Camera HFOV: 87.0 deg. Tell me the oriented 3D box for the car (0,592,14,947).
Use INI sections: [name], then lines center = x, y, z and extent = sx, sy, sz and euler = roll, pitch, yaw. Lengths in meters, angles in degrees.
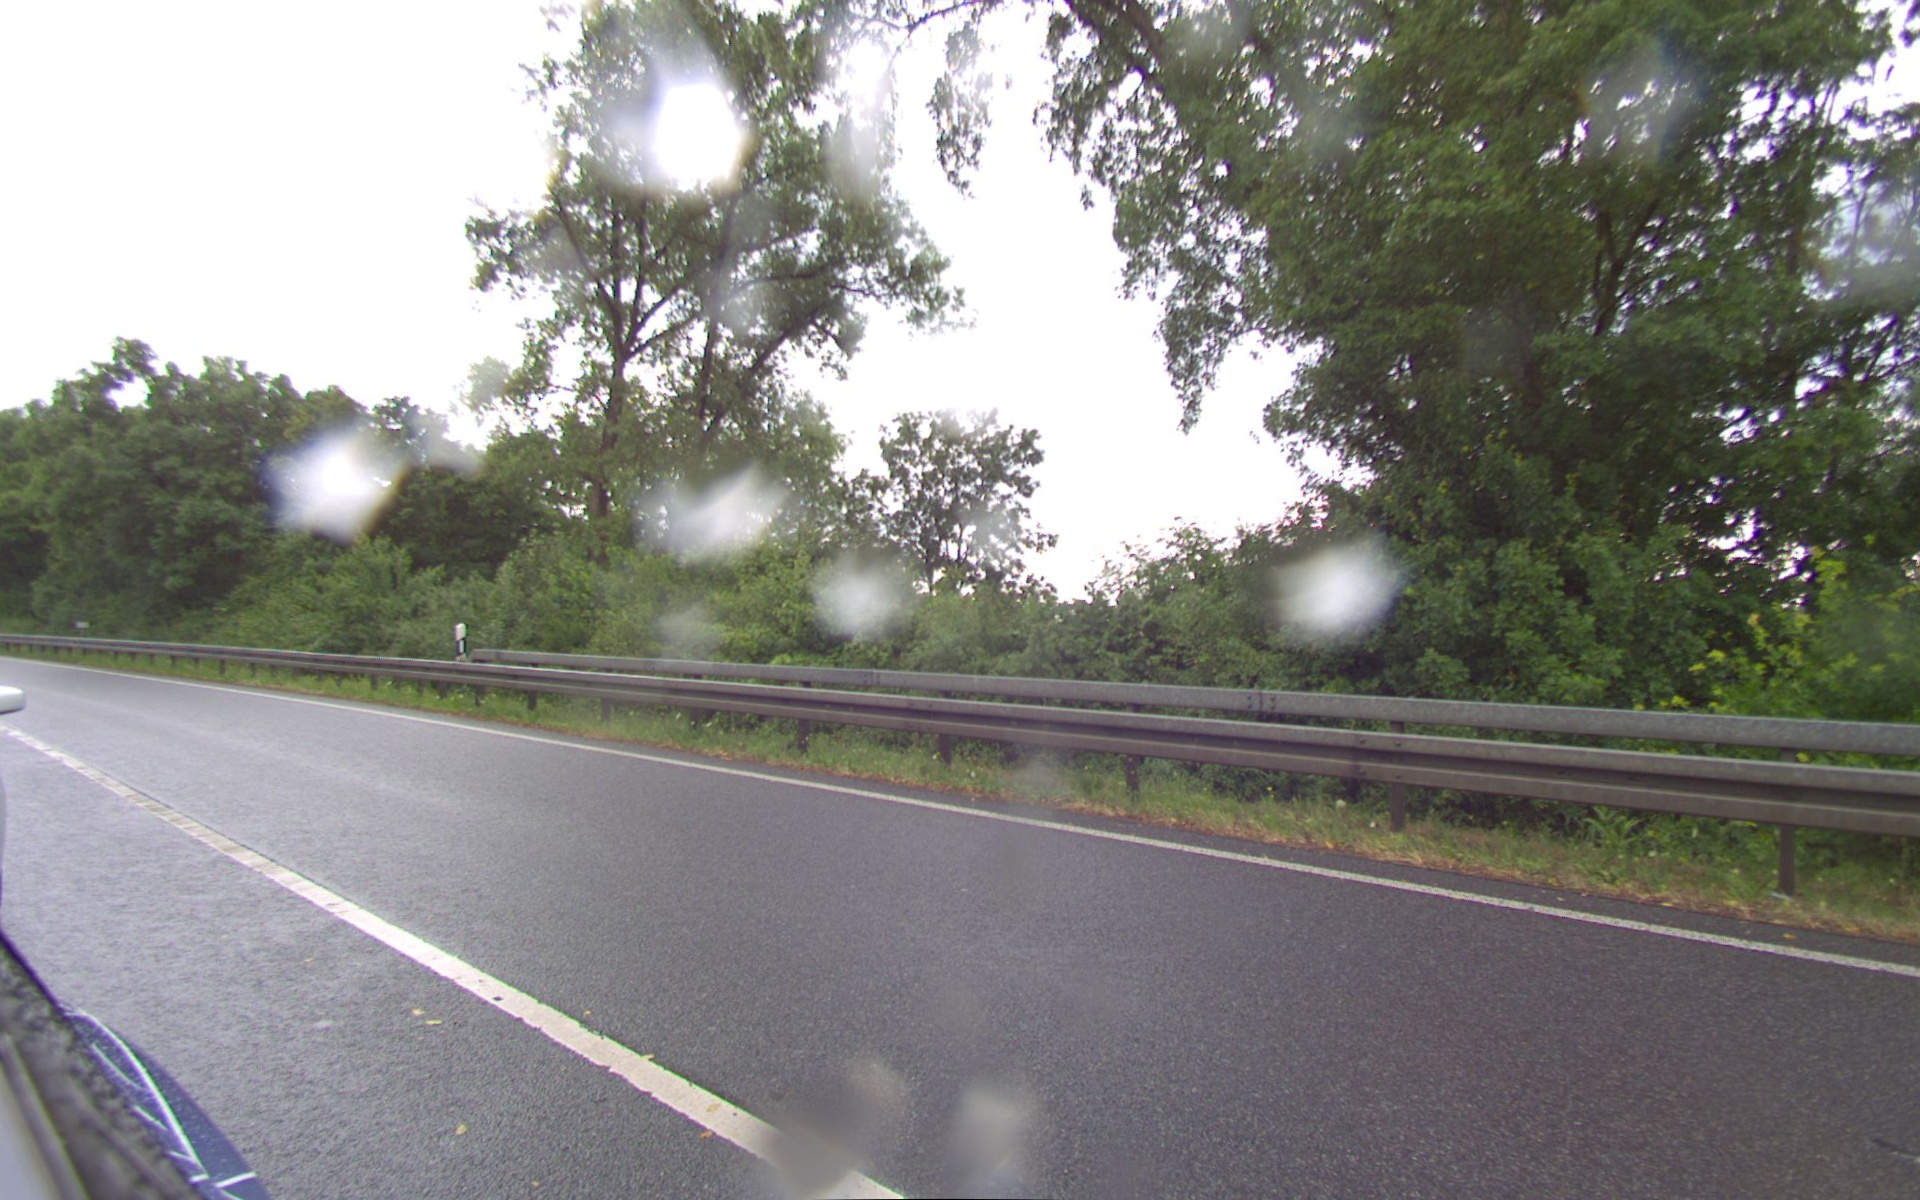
[car]
center = -6.074, 0.737, 5.006
extent = 4.061, 1.491, 1.678
euler = -1, -1, 42
